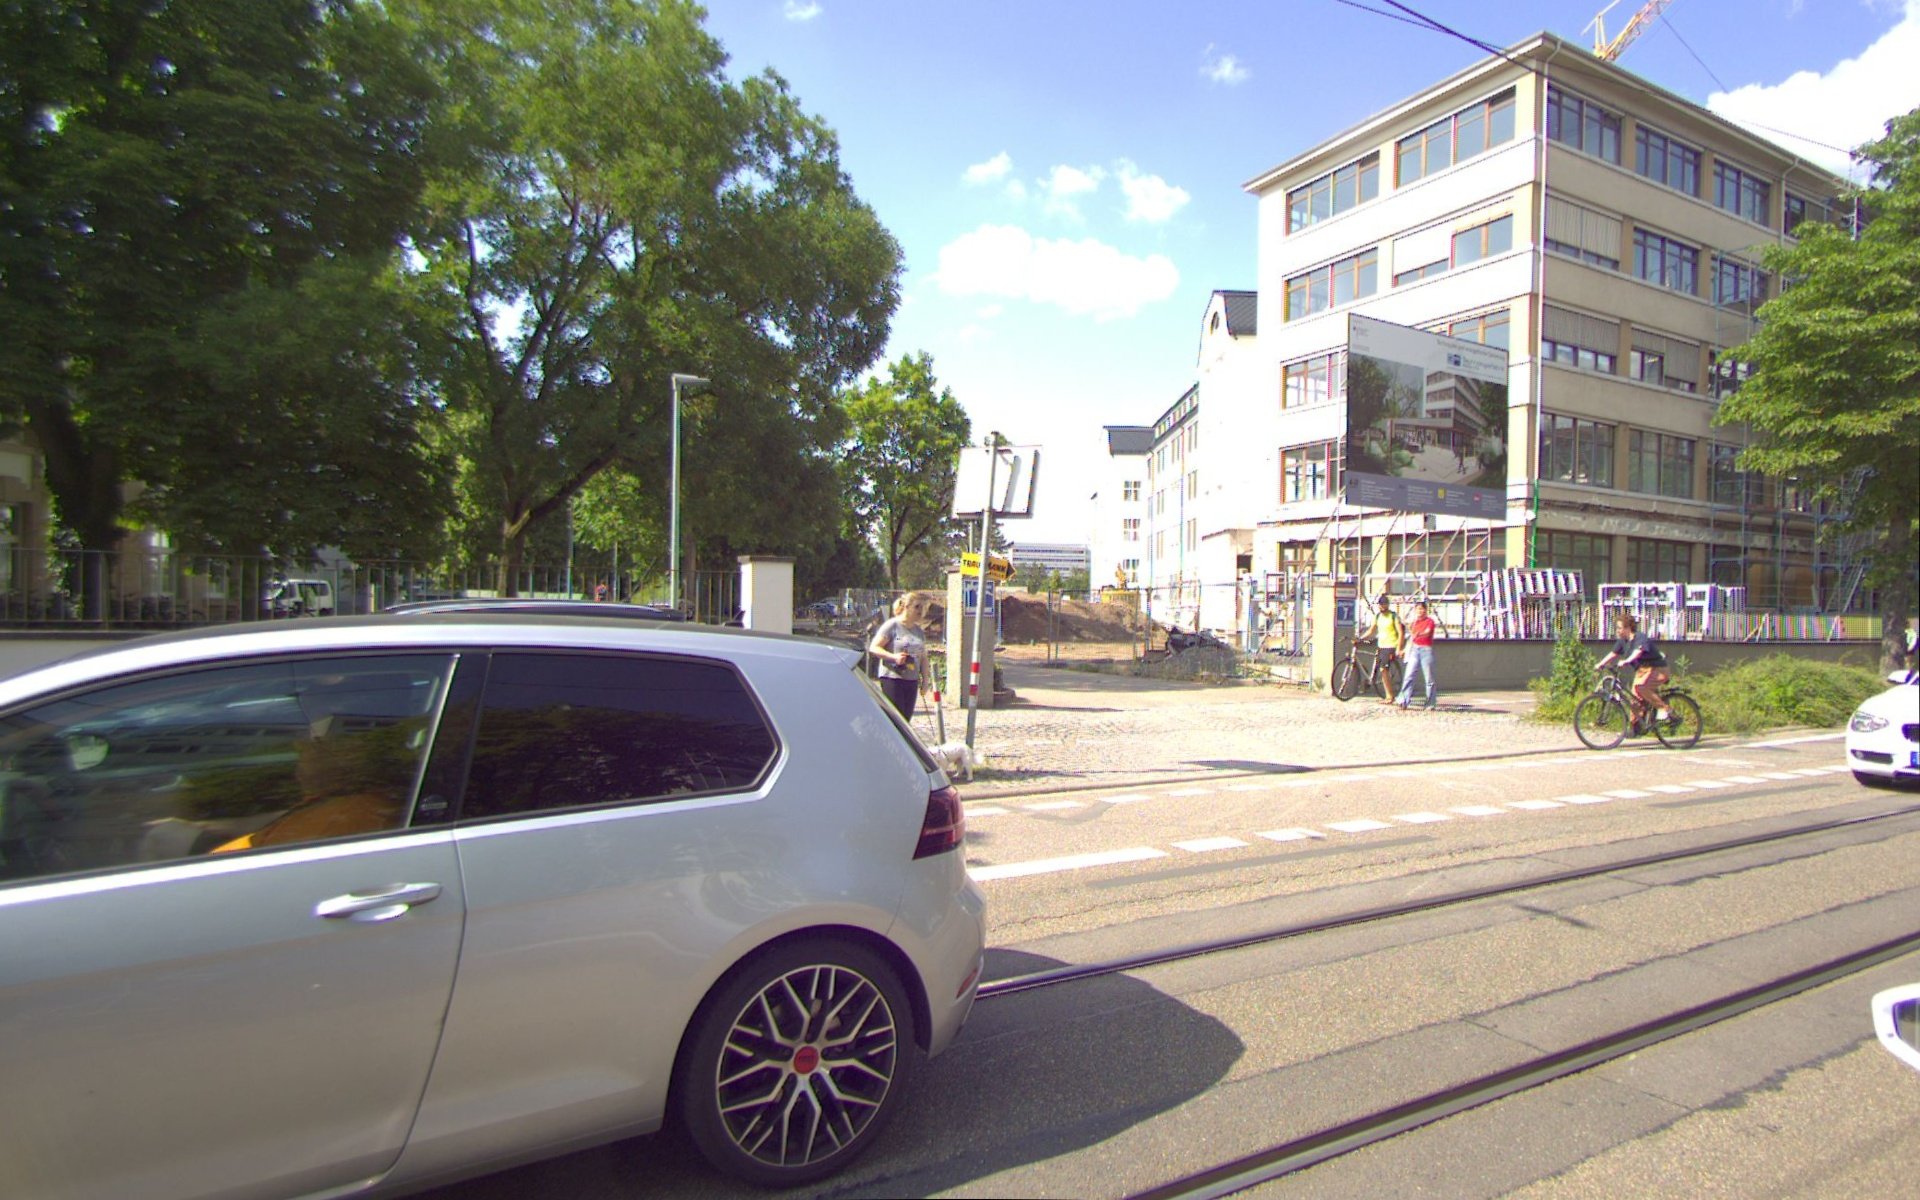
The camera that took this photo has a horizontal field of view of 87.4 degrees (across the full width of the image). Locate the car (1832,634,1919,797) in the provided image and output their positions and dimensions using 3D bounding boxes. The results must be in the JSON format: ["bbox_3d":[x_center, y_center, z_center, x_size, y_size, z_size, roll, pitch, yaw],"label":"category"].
[{"bbox_3d":[10.290,1.064,9.697,4.179,1.424,1.678,2,-3,-32],"label":"car"}]

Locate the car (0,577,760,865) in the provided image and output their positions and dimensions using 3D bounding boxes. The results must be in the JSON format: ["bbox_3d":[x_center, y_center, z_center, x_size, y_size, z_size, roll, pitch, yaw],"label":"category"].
[{"bbox_3d":[-3.931,0.695,7.255,4.541,1.536,1.739,2,1,-32],"label":"car"}]

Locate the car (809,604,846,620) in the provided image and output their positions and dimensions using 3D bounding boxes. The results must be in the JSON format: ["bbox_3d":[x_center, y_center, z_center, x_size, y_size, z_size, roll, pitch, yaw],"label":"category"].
[{"bbox_3d":[-13.481,1.189,102.443,3.595,1.509,1.785,1,0,-2],"label":"car"}]

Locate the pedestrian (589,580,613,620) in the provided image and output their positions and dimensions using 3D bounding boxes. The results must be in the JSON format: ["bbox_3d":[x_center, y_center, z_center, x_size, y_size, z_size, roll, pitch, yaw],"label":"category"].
[{"bbox_3d":[-15.002,0.004,41.992,0.751,1.642,0.594,1,0,10],"label":"pedestrian"}]

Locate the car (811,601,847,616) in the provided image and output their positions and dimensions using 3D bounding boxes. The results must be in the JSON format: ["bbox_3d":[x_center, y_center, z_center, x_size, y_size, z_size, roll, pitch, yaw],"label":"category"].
[{"bbox_3d":[-14.308,0.935,109.837,3.593,1.509,1.786,1,0,1],"label":"car"}]

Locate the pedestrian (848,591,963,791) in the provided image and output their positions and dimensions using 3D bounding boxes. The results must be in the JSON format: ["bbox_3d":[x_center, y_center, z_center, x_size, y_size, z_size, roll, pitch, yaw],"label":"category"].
[{"bbox_3d":[-0.476,0.765,8.921,0.714,1.659,0.691,2,1,28],"label":"pedestrian"}]

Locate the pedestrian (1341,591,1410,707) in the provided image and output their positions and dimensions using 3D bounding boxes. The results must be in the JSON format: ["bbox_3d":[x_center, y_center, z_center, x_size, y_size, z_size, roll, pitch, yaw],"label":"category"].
[{"bbox_3d":[6.819,0.783,16.494,0.655,1.817,0.703,1,3,-34],"label":"pedestrian"}]

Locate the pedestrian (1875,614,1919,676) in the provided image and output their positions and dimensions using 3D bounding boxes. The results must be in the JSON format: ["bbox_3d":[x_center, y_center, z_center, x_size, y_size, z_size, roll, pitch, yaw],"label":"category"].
[{"bbox_3d":[25.811,1.224,27.616,0.587,1.642,0.761,1,1,-28],"label":"pedestrian"}]

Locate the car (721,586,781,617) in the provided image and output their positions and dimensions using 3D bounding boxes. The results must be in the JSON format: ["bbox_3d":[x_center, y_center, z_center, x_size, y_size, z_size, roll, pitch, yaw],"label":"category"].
[{"bbox_3d":[-14.628,0.119,70.501,3.925,2.040,1.998,1,0,-6],"label":"car"}]

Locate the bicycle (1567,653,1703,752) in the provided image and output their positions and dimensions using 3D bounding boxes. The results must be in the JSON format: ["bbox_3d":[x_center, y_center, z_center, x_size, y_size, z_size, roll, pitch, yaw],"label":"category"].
[{"bbox_3d":[8.608,1.271,12.796,1.921,1.181,0.641,2,-3,-30],"label":"bicycle"}]

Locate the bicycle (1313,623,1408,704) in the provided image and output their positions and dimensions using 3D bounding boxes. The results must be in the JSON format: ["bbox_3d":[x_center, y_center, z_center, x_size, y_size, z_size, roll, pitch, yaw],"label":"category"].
[{"bbox_3d":[6.731,1.056,16.867,1.716,1.303,0.444,1,0,-27],"label":"bicycle"}]

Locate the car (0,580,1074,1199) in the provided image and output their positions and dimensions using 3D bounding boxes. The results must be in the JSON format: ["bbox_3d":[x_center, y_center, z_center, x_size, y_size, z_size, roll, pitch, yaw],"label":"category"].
[{"bbox_3d":[-1.756,0.703,2.751,3.805,1.435,1.766,2,-1,-29],"label":"car"}]

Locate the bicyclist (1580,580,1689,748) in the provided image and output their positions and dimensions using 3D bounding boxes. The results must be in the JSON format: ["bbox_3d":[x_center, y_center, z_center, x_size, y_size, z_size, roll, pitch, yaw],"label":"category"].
[{"bbox_3d":[8.605,0.806,12.829,0.824,2.040,0.872,2,-3,-30],"label":"bicyclist"}]

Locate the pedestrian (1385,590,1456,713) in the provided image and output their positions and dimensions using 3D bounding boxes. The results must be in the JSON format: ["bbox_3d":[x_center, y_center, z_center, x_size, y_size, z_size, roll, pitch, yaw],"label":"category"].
[{"bbox_3d":[7.274,0.789,15.886,0.655,1.857,0.703,-1,4,-34],"label":"pedestrian"}]
